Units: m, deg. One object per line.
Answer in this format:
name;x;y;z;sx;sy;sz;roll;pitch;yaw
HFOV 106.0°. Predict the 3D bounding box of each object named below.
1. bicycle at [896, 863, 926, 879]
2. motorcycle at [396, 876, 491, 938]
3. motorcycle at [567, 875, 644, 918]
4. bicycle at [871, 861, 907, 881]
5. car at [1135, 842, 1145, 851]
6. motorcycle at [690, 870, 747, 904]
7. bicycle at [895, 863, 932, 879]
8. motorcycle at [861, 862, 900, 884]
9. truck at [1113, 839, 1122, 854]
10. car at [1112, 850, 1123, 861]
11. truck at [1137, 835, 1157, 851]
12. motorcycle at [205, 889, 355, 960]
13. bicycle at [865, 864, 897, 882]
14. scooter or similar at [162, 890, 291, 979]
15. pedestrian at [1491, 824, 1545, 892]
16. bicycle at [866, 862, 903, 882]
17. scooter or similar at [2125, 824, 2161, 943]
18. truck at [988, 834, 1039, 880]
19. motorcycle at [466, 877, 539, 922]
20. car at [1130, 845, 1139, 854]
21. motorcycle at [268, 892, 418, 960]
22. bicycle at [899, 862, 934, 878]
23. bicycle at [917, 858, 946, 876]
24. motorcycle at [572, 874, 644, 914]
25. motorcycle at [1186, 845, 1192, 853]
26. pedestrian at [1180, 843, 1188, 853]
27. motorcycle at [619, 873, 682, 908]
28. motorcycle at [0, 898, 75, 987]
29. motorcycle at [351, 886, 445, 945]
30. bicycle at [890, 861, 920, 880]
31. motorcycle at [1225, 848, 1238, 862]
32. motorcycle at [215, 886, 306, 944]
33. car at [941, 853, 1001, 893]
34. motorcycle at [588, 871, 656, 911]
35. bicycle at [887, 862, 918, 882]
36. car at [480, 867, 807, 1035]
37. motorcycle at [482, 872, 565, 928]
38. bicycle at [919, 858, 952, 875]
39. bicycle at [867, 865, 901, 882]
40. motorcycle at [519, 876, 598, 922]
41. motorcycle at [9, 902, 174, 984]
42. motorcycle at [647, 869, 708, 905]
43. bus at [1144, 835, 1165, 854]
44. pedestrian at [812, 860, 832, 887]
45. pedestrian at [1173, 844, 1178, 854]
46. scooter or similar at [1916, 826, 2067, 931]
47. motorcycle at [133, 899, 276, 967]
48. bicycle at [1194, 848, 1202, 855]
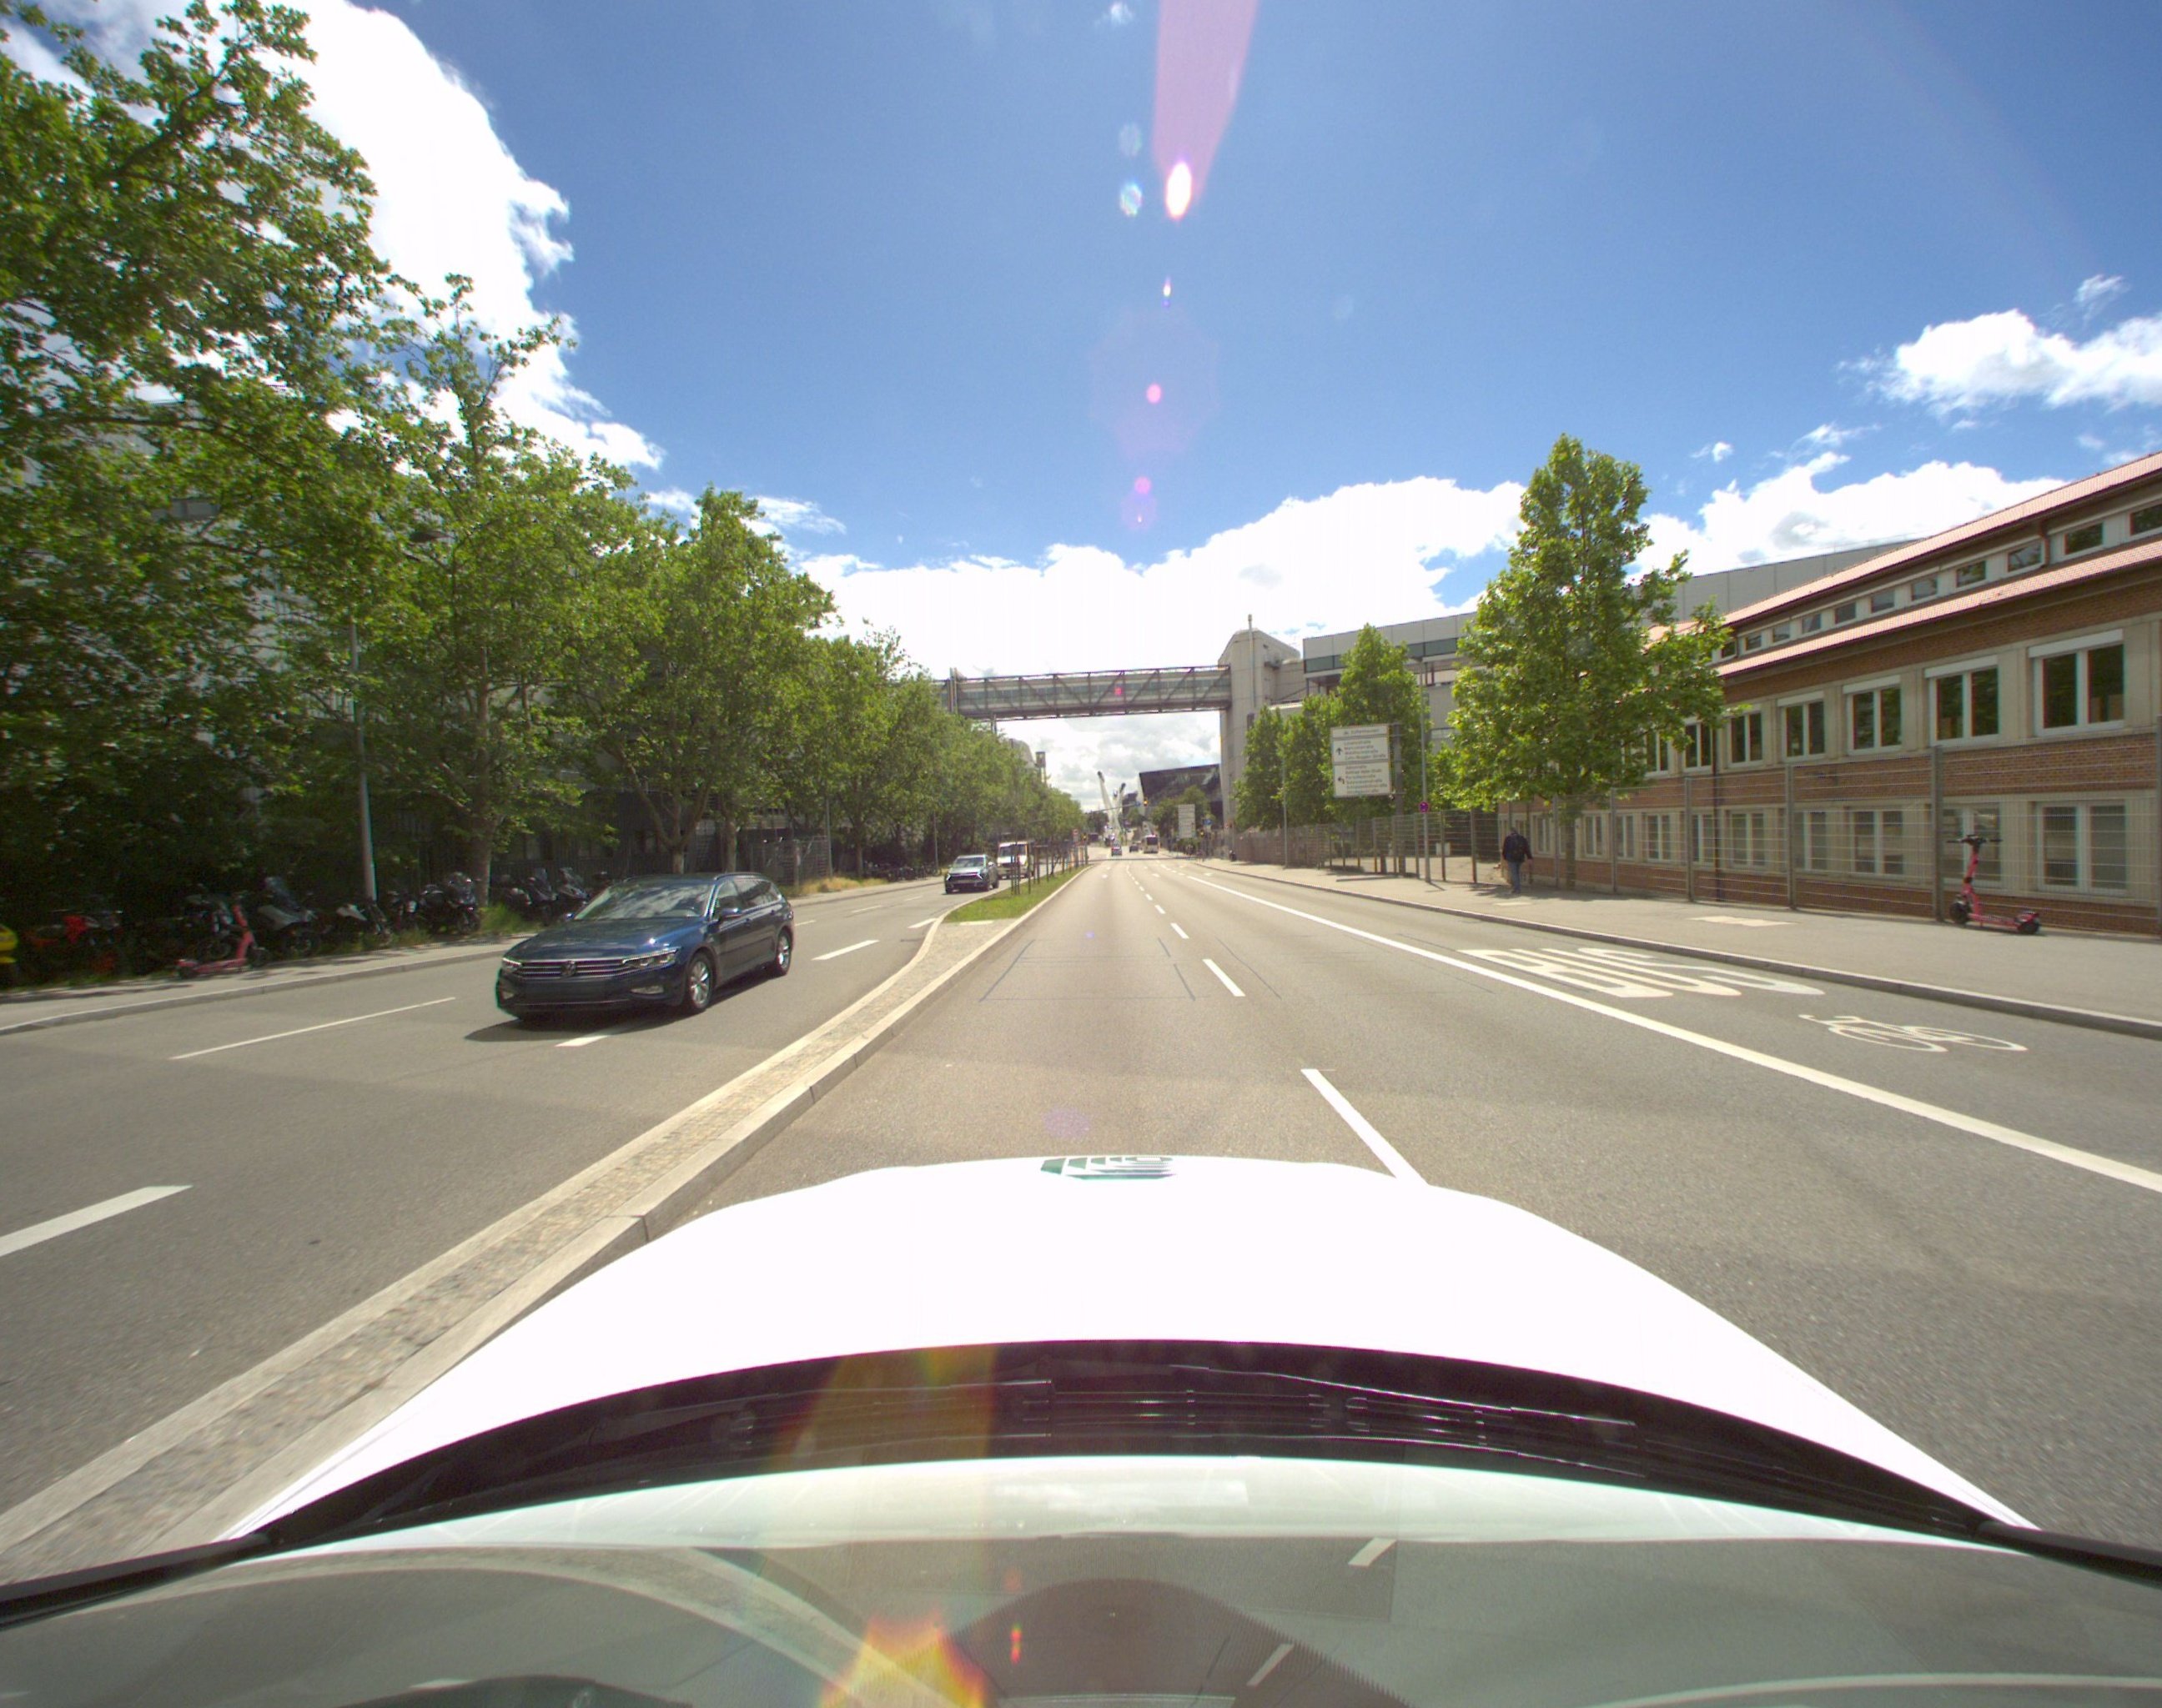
bicycle;-11.987;1.201;57.516;1.912;1.122;0.806;-1;0;0
motorcycle;-14.824;1.201;18.952;1.915;1.290;0.898;1;1;22
motorcycle;-14.160;1.248;24.269;1.866;1.179;0.817;0;1;11
bicycle;-12.822;1.151;54.399;2.126;1.282;0.806;-1;0;0
car;13.876;-1.816;191.473;1.987;2.014;3.999;0;-1;0
motorcycle;-13.665;1.235;30.748;1.865;1.173;0.748;0;1;11
bicycle;-12.401;1.267;60.254;2.548;1.096;0.698;-3;0;12
motorcycle;-12.359;1.157;50.202;2.126;1.309;0.806;-1;0;0
truck;9.717;-2.050;216.999;2.382;3.897;6.183;-1;0;3
car;6.188;0.219;138.458;1.731;1.741;3.695;-1;0;3
truck;19.912;-3.306;245.702;3.423;4.391;9.469;-1;0;21
motorcycle;-14.542;1.260;14.836;1.746;1.178;0.850;0;1;-9
bicycle;-12.767;1.234;52.054;1.917;1.074;0.422;-1;0;0
scooter or similar;-12.995;1.194;12.445;0.353;1.236;1.480;0;-1;2
pedestrian;11.864;0.102;22.140;0.874;1.743;0.941;-4;0;2
bicycle;-12.374;1.148;51.298;2.126;1.180;0.806;-1;0;0
scooter or similar;12.019;0.317;8.498;0.489;1.294;1.337;-3;0;2
truck;-4.349;0.183;53.600;2.469;2.751;6.461;-2;0;2
motorcycle;-17.827;1.376;25.160;0.649;1.209;1.987;0;1;7
car;10.744;-0.975;164.357;1.731;1.741;3.695;-1;0;3
motorcycle;-14.452;1.388;16.007;1.932;1.116;0.918;-4;-1;-10
bicycle;-12.553;1.229;62.199;2.548;1.157;0.728;-1;0;12
bicycle;-11.779;1.038;64.191;2.157;1.363;0.490;-1;0;4
motorcycle;-14.791;1.230;25.492;1.868;1.179;0.699;0;1;5
motorcycle;15.832;-0.748;119.208;0.703;1.203;2.026;-3;1;3
pedestrian;16.195;-0.912;127.987;0.839;1.624;0.962;-1;0;44
motorcycle;-14.571;1.231;27.588;1.863;1.084;0.798;1;1;17
motorcycle;-15.154;1.201;11.162;1.589;1.123;0.774;0;1;-7
motorcycle;-14.899;1.314;17.769;1.913;1.115;0.927;1;2;29
bicycle;-12.200;1.126;56.483;1.912;1.282;0.806;-1;0;0
motorcycle;13.902;0.083;75.270;0.691;1.158;2.147;-3;0;-1
motorcycle;-18.386;1.340;18.238;1.913;1.115;0.927;1;2;29
car;-4.863;0.794;36.466;1.898;1.631;4.295;-1;0;2
motorcycle;-14.920;1.195;26.502;1.868;1.209;0.656;0;1;5
bicycle;-12.115;1.199;55.309;1.912;1.282;0.806;-1;0;0
car;-4.860;0.937;9.892;1.705;1.453;4.474;-2;0;-3
motorcycle;-14.630;1.190;21.381;1.915;1.344;0.869;1;1;22
bicycle;-11.261;0.978;62.961;2.394;1.258;0.556;-1;0;4
bicycle;-12.692;1.271;52.521;2.074;1.062;0.497;-1;0;0
motorcycle;-14.572;1.229;22.724;1.863;1.179;0.818;1;1;17
motorcycle;-14.951;1.332;12.335;1.584;1.123;0.777;0;1;3
motorcycle;-14.253;1.149;28.773;1.866;1.186;0.732;0;1;10
bus;14.126;-1.826;157.332;3.439;3.543;10.613;-1;0;2
pedestrian;-15.266;1.166;47.994;0.749;1.552;0.823;-1;0;12
pedestrian;16.668;-0.802;144.102;0.634;1.741;0.821;-1;0;-6
scooter or similar;12.103;0.309;10.882;0.489;1.294;1.337;-3;0;2
motorcycle;-14.771;1.315;13.752;1.584;1.033;0.777;0;1;3
bicycle;16.592;-0.302;115.342;0.398;0.937;1.918;-1;0;-15
